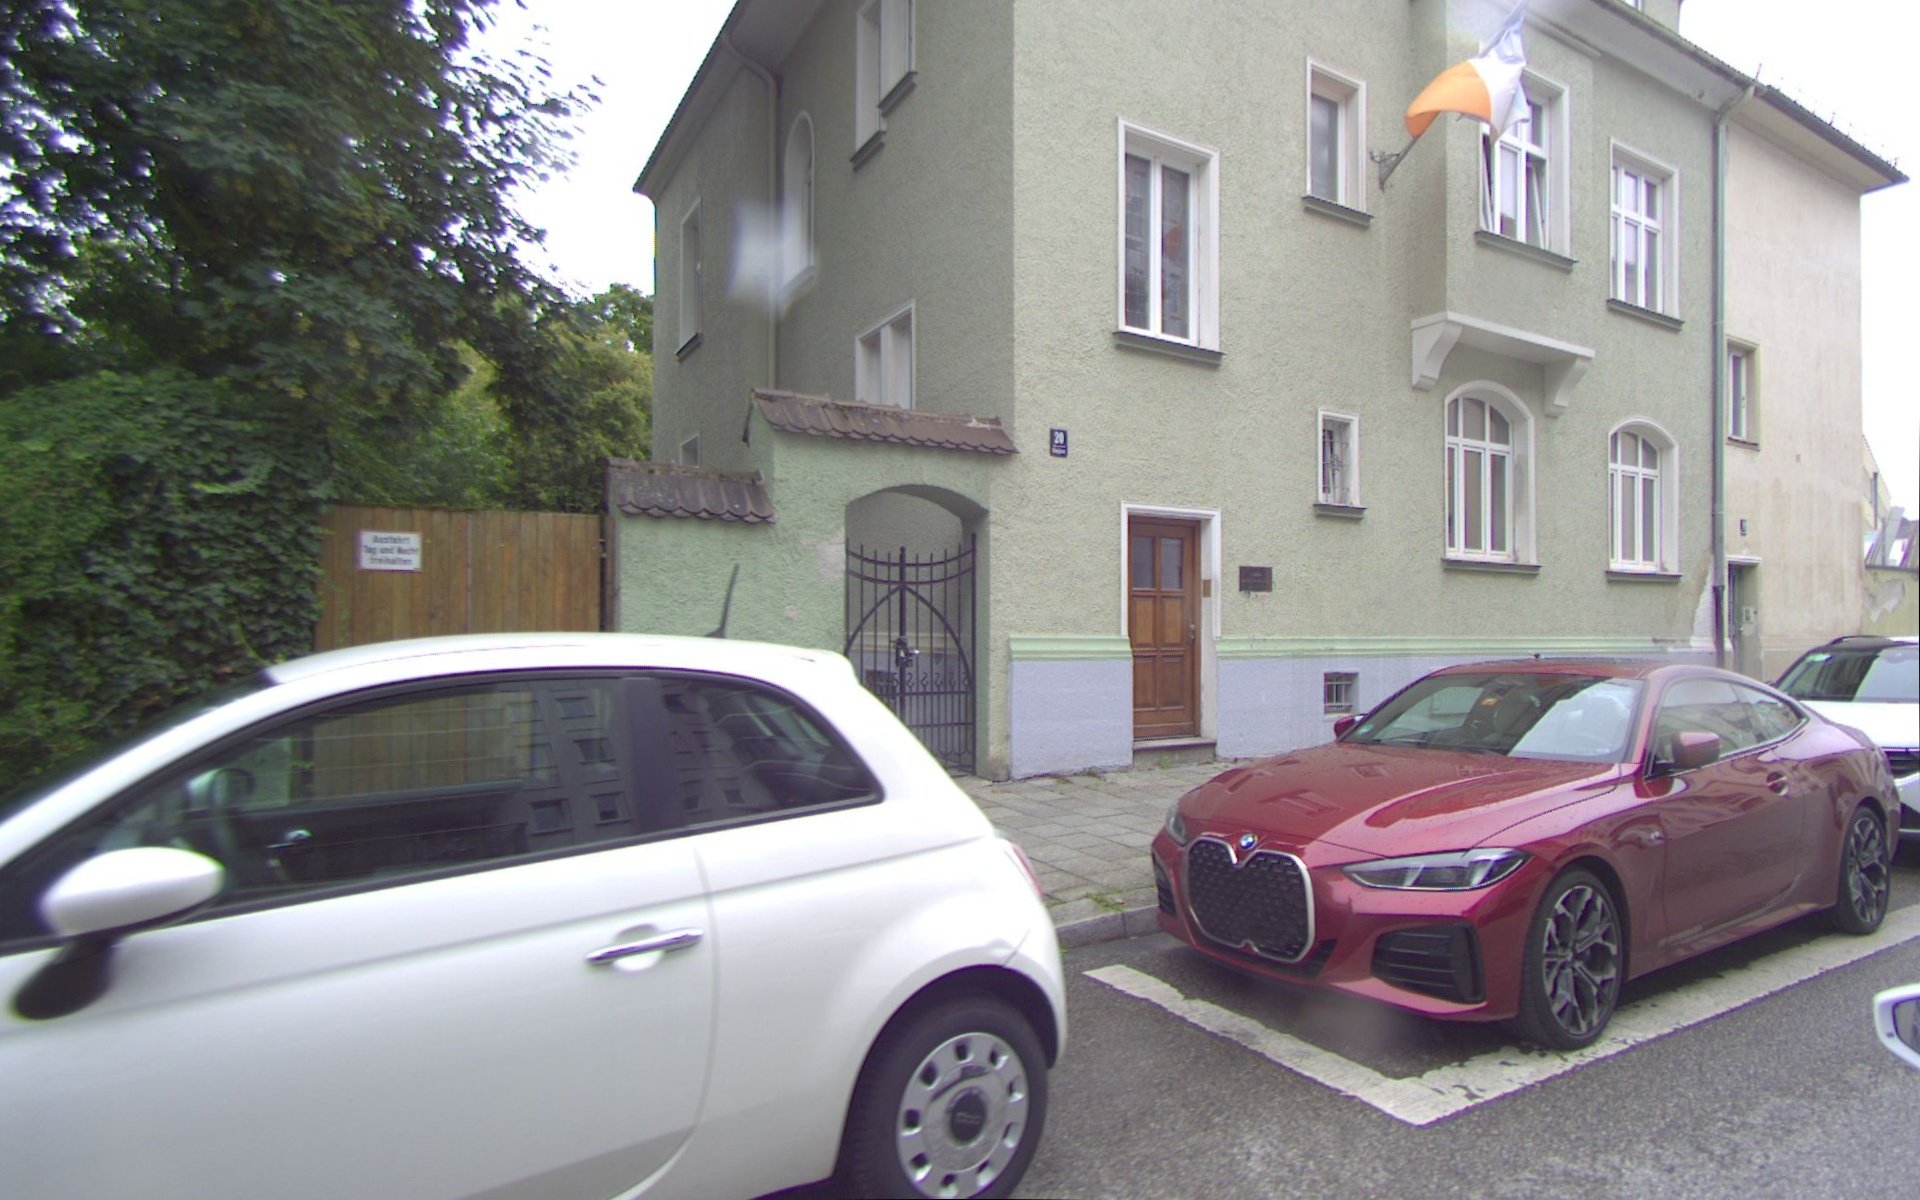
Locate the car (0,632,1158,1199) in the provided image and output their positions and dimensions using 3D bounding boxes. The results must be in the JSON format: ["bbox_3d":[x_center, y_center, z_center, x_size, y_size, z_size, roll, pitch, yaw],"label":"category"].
[{"bbox_3d":[-1.351,0.840,2.535,3.482,1.487,1.618,1,-3,-32],"label":"car"}]

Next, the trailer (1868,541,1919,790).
[{"bbox_3d":[11.930,0.646,10.581,4.518,2.503,1.969,1,-4,-28],"label":"trailer"}]

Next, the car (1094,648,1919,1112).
[{"bbox_3d":[2.931,0.981,5.095,4.352,1.386,1.737,0,-2,-31],"label":"car"}]

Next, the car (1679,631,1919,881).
[{"bbox_3d":[7.527,1.027,7.821,4.060,1.550,1.671,0,-2,-31],"label":"car"}]

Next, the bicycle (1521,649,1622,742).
[{"bbox_3d":[7.852,1.196,12.873,1.506,1.099,0.458,1,0,-32],"label":"bicycle"}]
